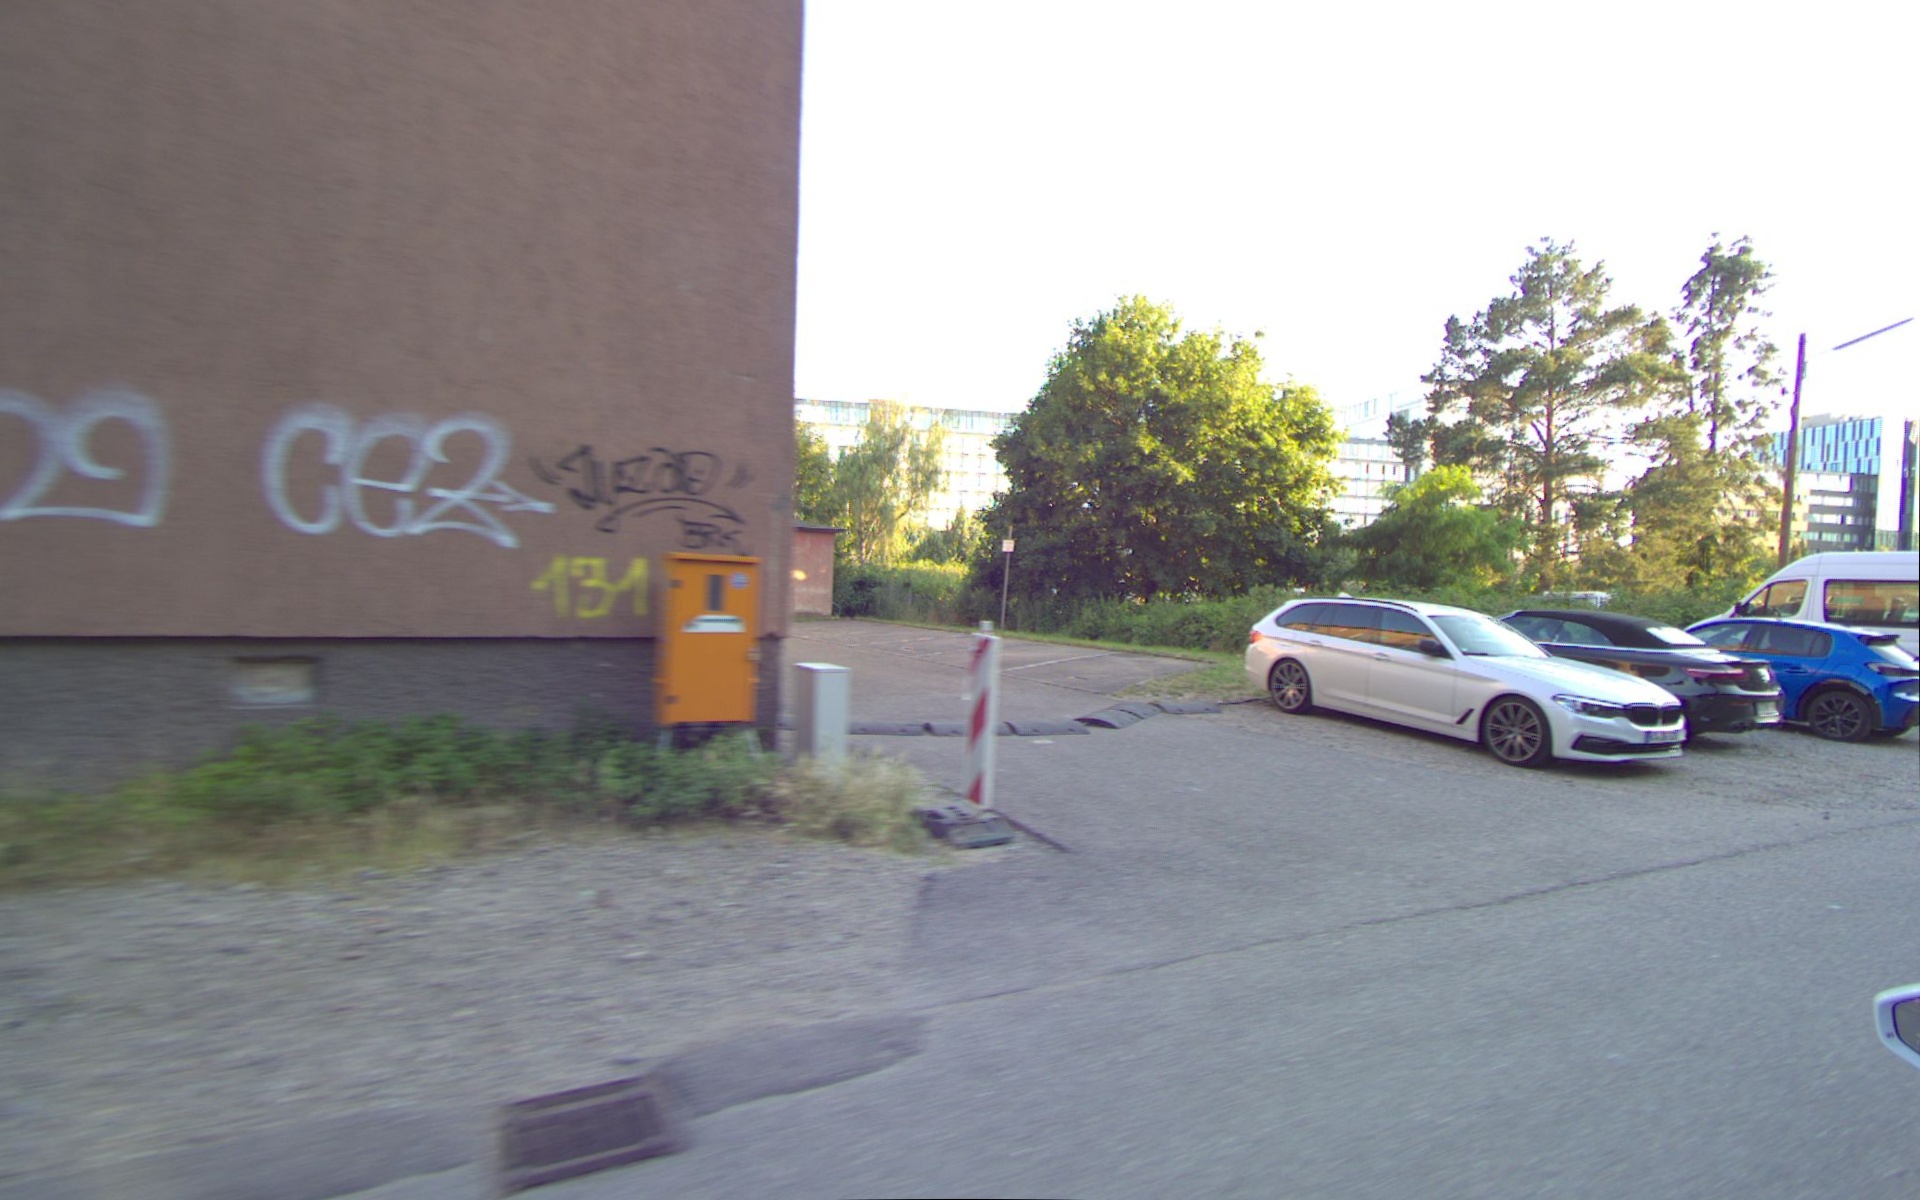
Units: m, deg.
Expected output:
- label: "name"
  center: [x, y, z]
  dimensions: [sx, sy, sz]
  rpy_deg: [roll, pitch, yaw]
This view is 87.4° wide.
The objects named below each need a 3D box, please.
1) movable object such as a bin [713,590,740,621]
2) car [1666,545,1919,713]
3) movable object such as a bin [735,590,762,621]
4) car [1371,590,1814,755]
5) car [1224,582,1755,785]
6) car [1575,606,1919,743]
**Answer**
- label: "movable object such as a bin"
  center: [-7.143, 0.162, 30.700]
  dimensions: [0.638, 0.915, 0.608]
  rpy_deg: [3, 1, -30]
- label: "car"
  center: [15.865, 0.476, 17.236]
  dimensions: [2.194, 2.661, 5.667]
  rpy_deg: [3, 1, -27]
- label: "movable object such as a bin"
  center: [-6.537, 0.174, 31.074]
  dimensions: [0.638, 0.915, 0.608]
  rpy_deg: [3, 1, -30]
- label: "car"
  center: [7.689, 0.765, 12.710]
  dimensions: [1.709, 1.565, 4.391]
  rpy_deg: [3, 1, -32]
- label: "car"
  center: [5.533, 0.732, 11.379]
  dimensions: [2.089, 1.565, 4.974]
  rpy_deg: [3, 2, -27]
- label: "car"
  center: [10.995, 0.925, 13.921]
  dimensions: [1.708, 1.448, 3.816]
  rpy_deg: [3, 1, -31]
